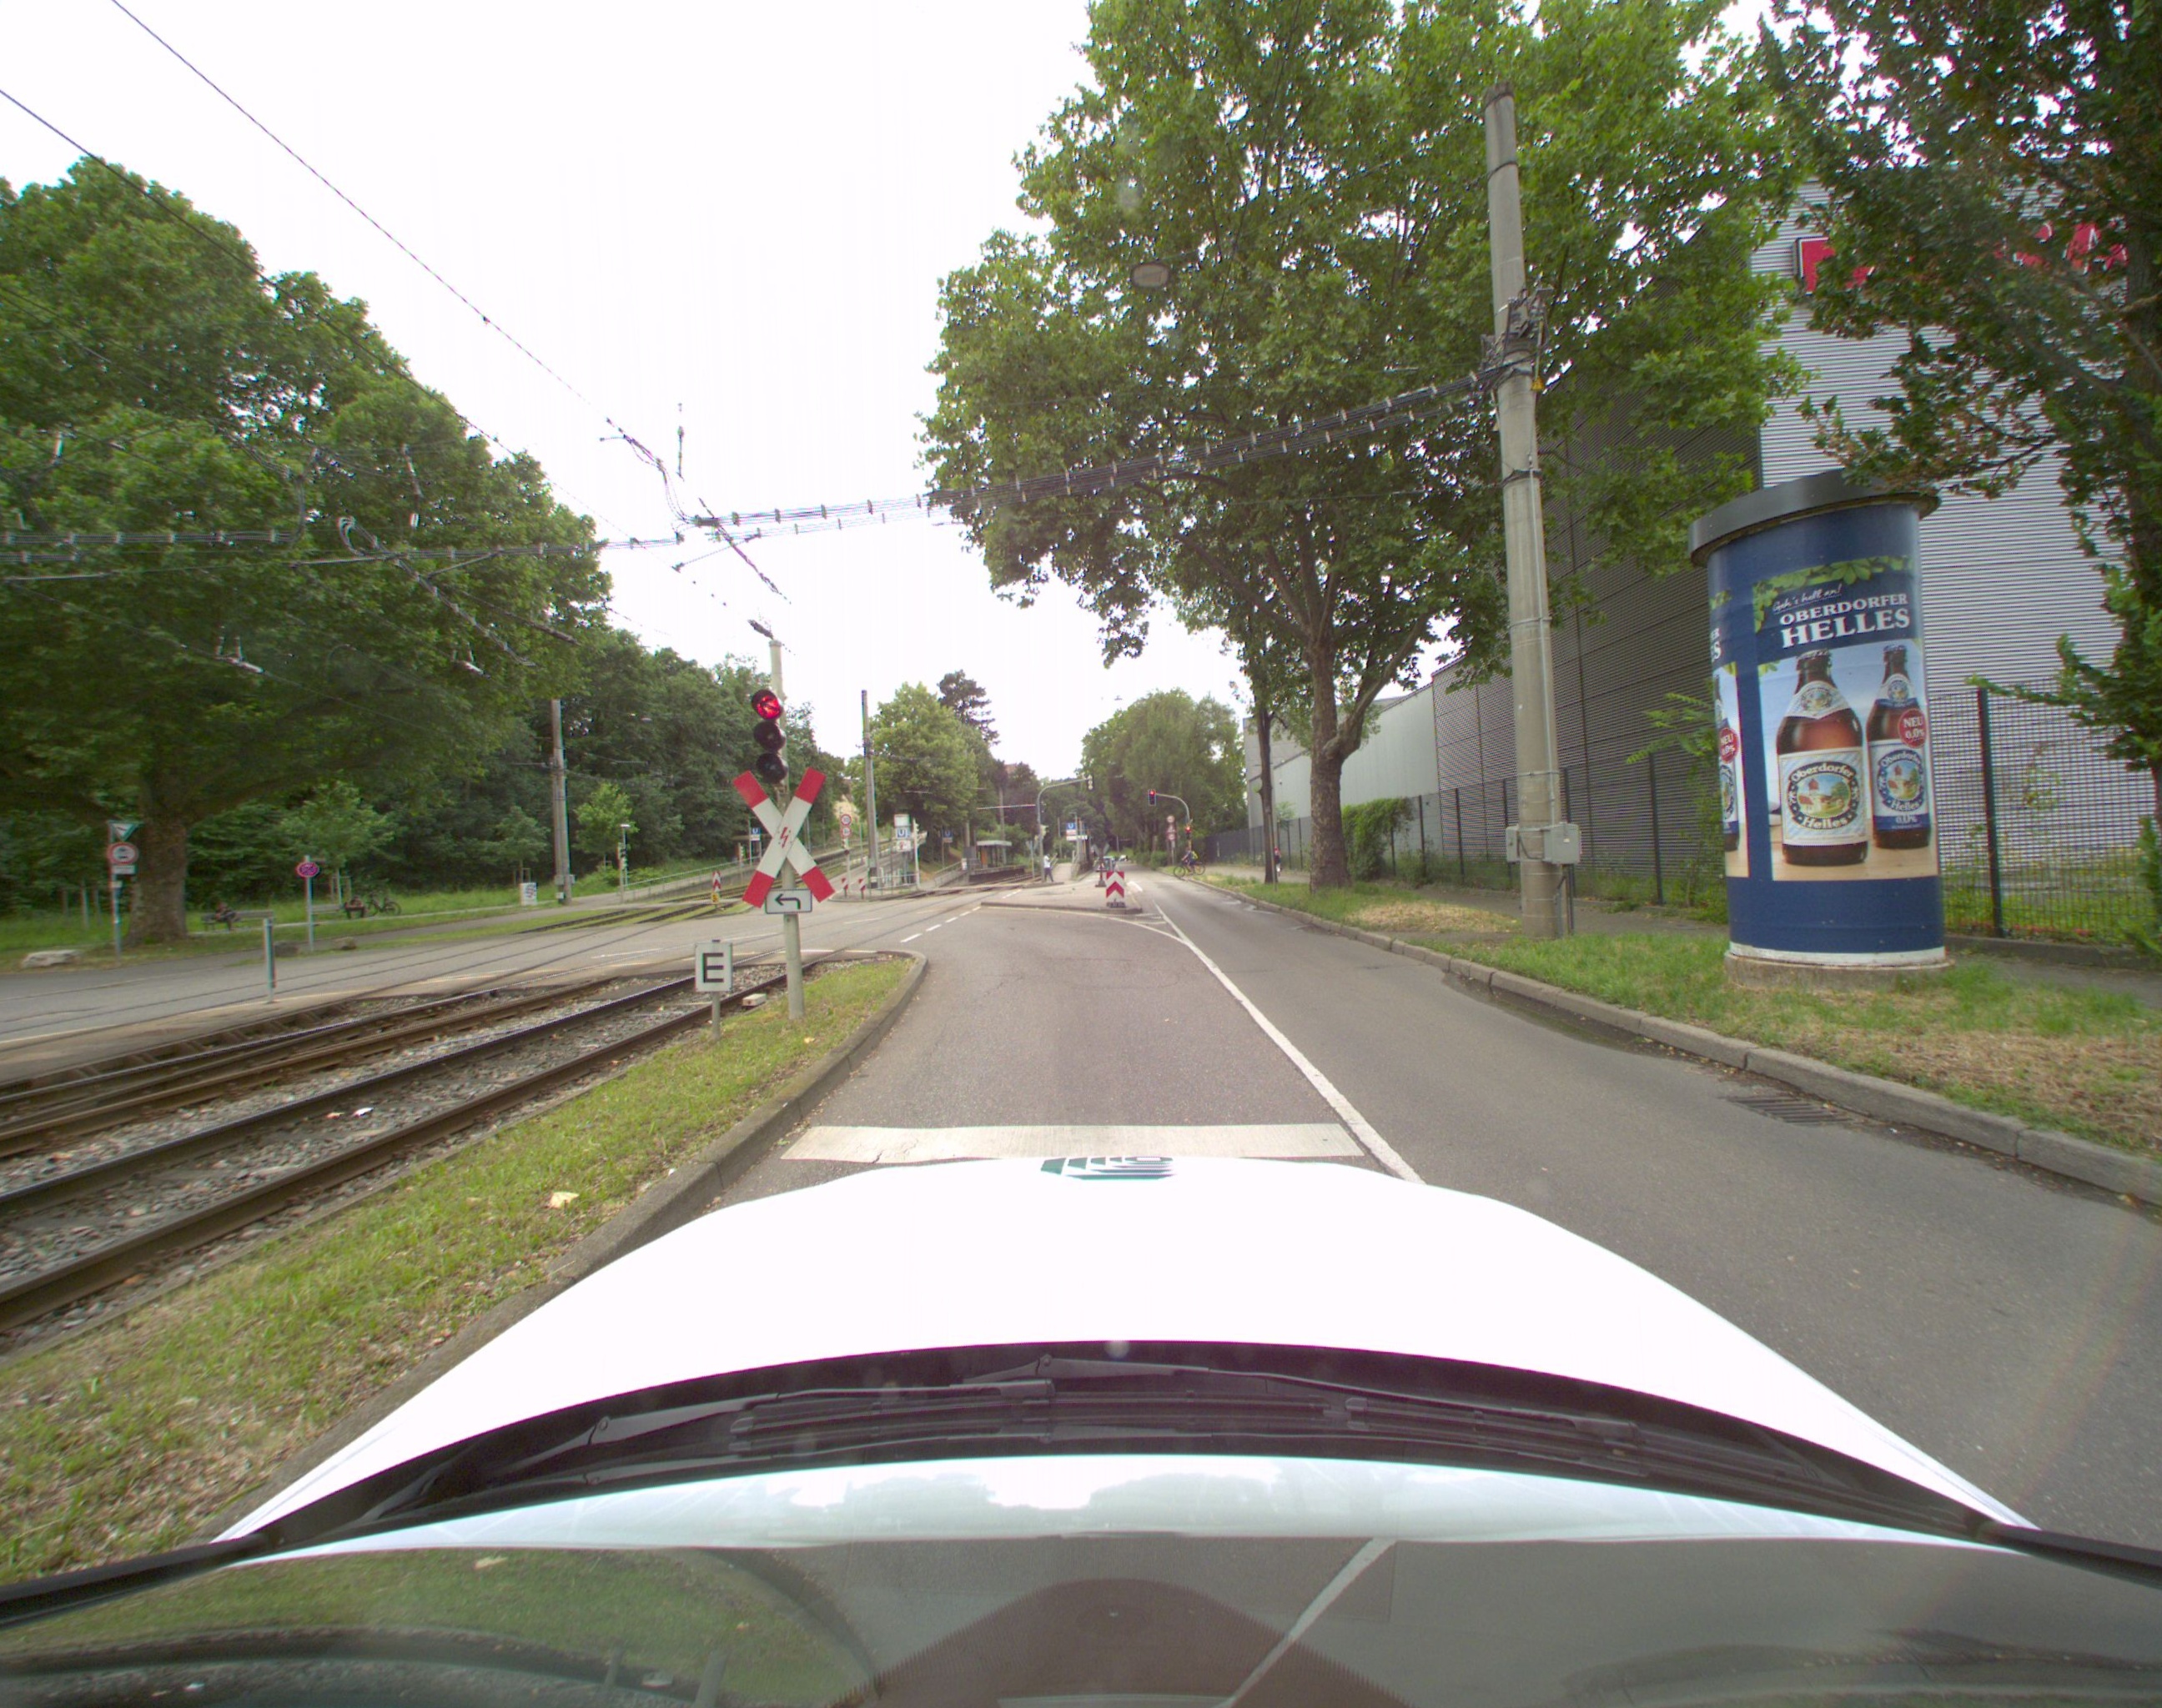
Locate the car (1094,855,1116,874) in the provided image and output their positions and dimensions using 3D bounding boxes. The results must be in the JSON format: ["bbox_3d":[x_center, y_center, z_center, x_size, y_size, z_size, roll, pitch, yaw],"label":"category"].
[{"bbox_3d":[2.334,0.957,78.142,1.986,1.662,4.002,-3,0,2],"label":"car"}]

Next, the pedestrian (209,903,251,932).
[{"bbox_3d":[-35.114,2.616,33.622,0.894,1.095,1.088,-2,-2,37],"label":"pedestrian"}]

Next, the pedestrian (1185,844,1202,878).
[{"bbox_3d":[6.935,0.444,50.337,0.926,2.013,0.669,-3,-1,6],"label":"pedestrian"}]

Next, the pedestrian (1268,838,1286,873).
[{"bbox_3d":[9.142,0.058,37.985,0.662,1.553,0.936,-3,-1,7],"label":"pedestrian"}]

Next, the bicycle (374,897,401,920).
[{"bbox_3d":[-32.626,2.545,38.328,1.631,1.012,0.680,-2,-2,39],"label":"bicycle"}]

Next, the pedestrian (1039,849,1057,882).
[{"bbox_3d":[-1.914,0.665,47.151,0.904,1.852,0.771,-3,-1,2],"label":"pedestrian"}]

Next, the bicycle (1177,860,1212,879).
[{"bbox_3d":[6.991,0.965,50.331,2.063,1.007,0.669,-3,0,7],"label":"bicycle"}]

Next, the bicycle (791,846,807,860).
[{"bbox_3d":[-30.019,-0.099,86.697,0.823,1.343,2.990,-4,3,-6],"label":"bicycle"}]

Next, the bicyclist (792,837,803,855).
[{"bbox_3d":[-30.049,-0.881,86.325,0.820,1.848,1.049,-3,2,-6],"label":"bicyclist"}]

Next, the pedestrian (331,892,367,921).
[{"bbox_3d":[-33.563,2.398,37.327,1.102,1.268,1.063,-2,-2,39],"label":"pedestrian"}]

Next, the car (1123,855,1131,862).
[{"bbox_3d":[11.972,1.066,212.324,1.985,1.662,4.003,3,0,3],"label":"car"}]
